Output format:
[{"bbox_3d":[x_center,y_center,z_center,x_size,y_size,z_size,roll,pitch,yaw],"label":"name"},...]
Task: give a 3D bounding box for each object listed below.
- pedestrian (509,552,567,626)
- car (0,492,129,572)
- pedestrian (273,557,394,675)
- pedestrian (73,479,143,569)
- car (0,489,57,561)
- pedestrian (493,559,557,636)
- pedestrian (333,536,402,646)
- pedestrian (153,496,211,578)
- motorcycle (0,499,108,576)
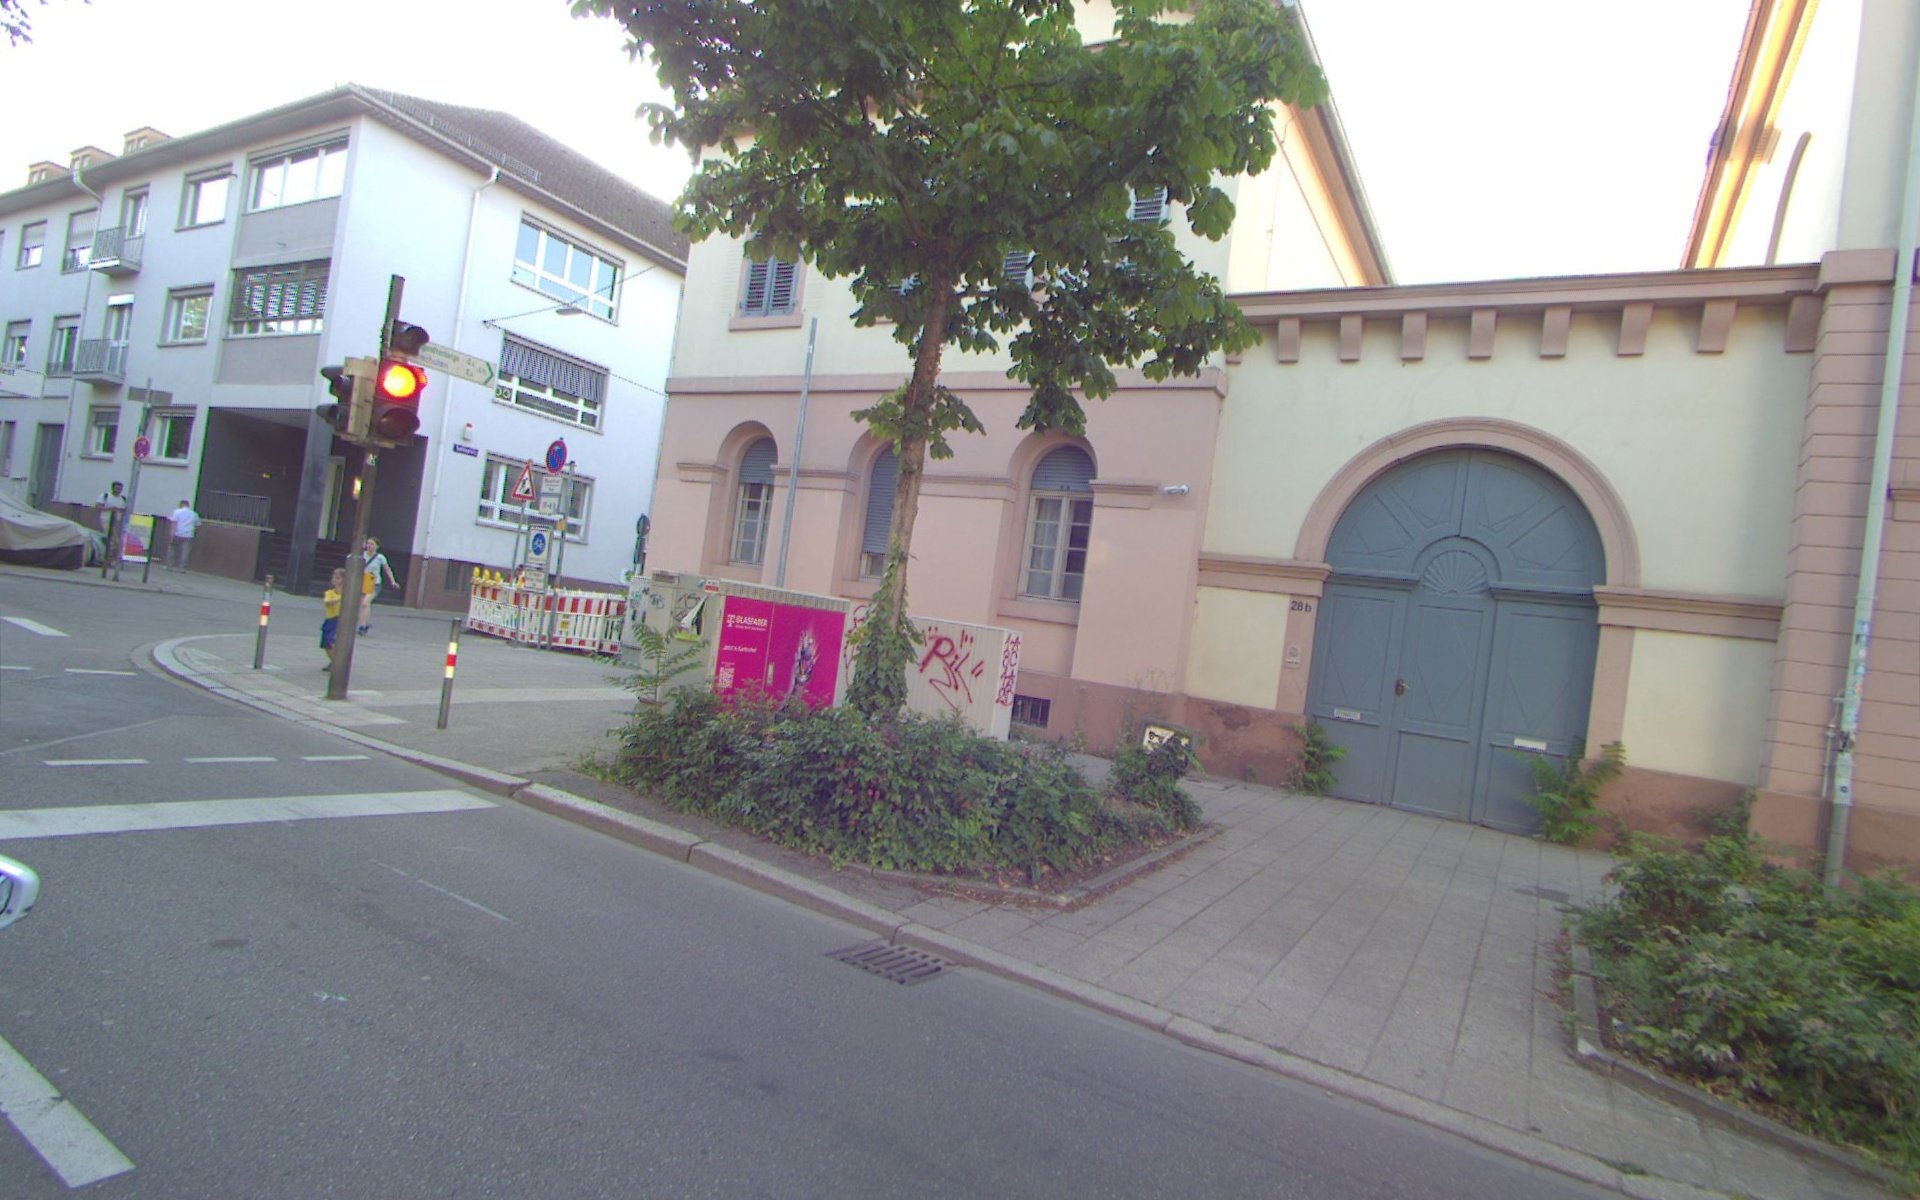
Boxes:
[{"bbox_3d":[-10.988,-0.286,26.210,0.918,1.772,0.770,8,-1,32],"label":"pedestrian"},{"bbox_3d":[-19.874,-1.558,20.589,1.679,1.358,4.021,7,-2,32],"label":"car"},{"bbox_3d":[-6.757,0.180,10.865,0.558,1.134,0.835,8,-1,37],"label":"pedestrian"},{"bbox_3d":[-19.322,-1.717,22.828,0.928,1.862,0.768,8,-1,33],"label":"pedestrian"},{"bbox_3d":[-22.302,-1.882,21.525,1.678,1.459,4.022,7,-1,32],"label":"car"},{"bbox_3d":[-9.286,-0.039,21.469,0.762,1.519,0.802,7,0,18],"label":"pedestrian"},{"bbox_3d":[-9.245,-0.150,15.713,0.694,1.575,0.972,9,-1,-31],"label":"pedestrian"},{"bbox_3d":[-18.211,-1.463,23.552,0.688,1.772,0.704,8,-1,36],"label":"pedestrian"},{"bbox_3d":[-17.247,-1.185,18.840,0.604,1.213,1.799,7,-1,41],"label":"motorcycle"}]
